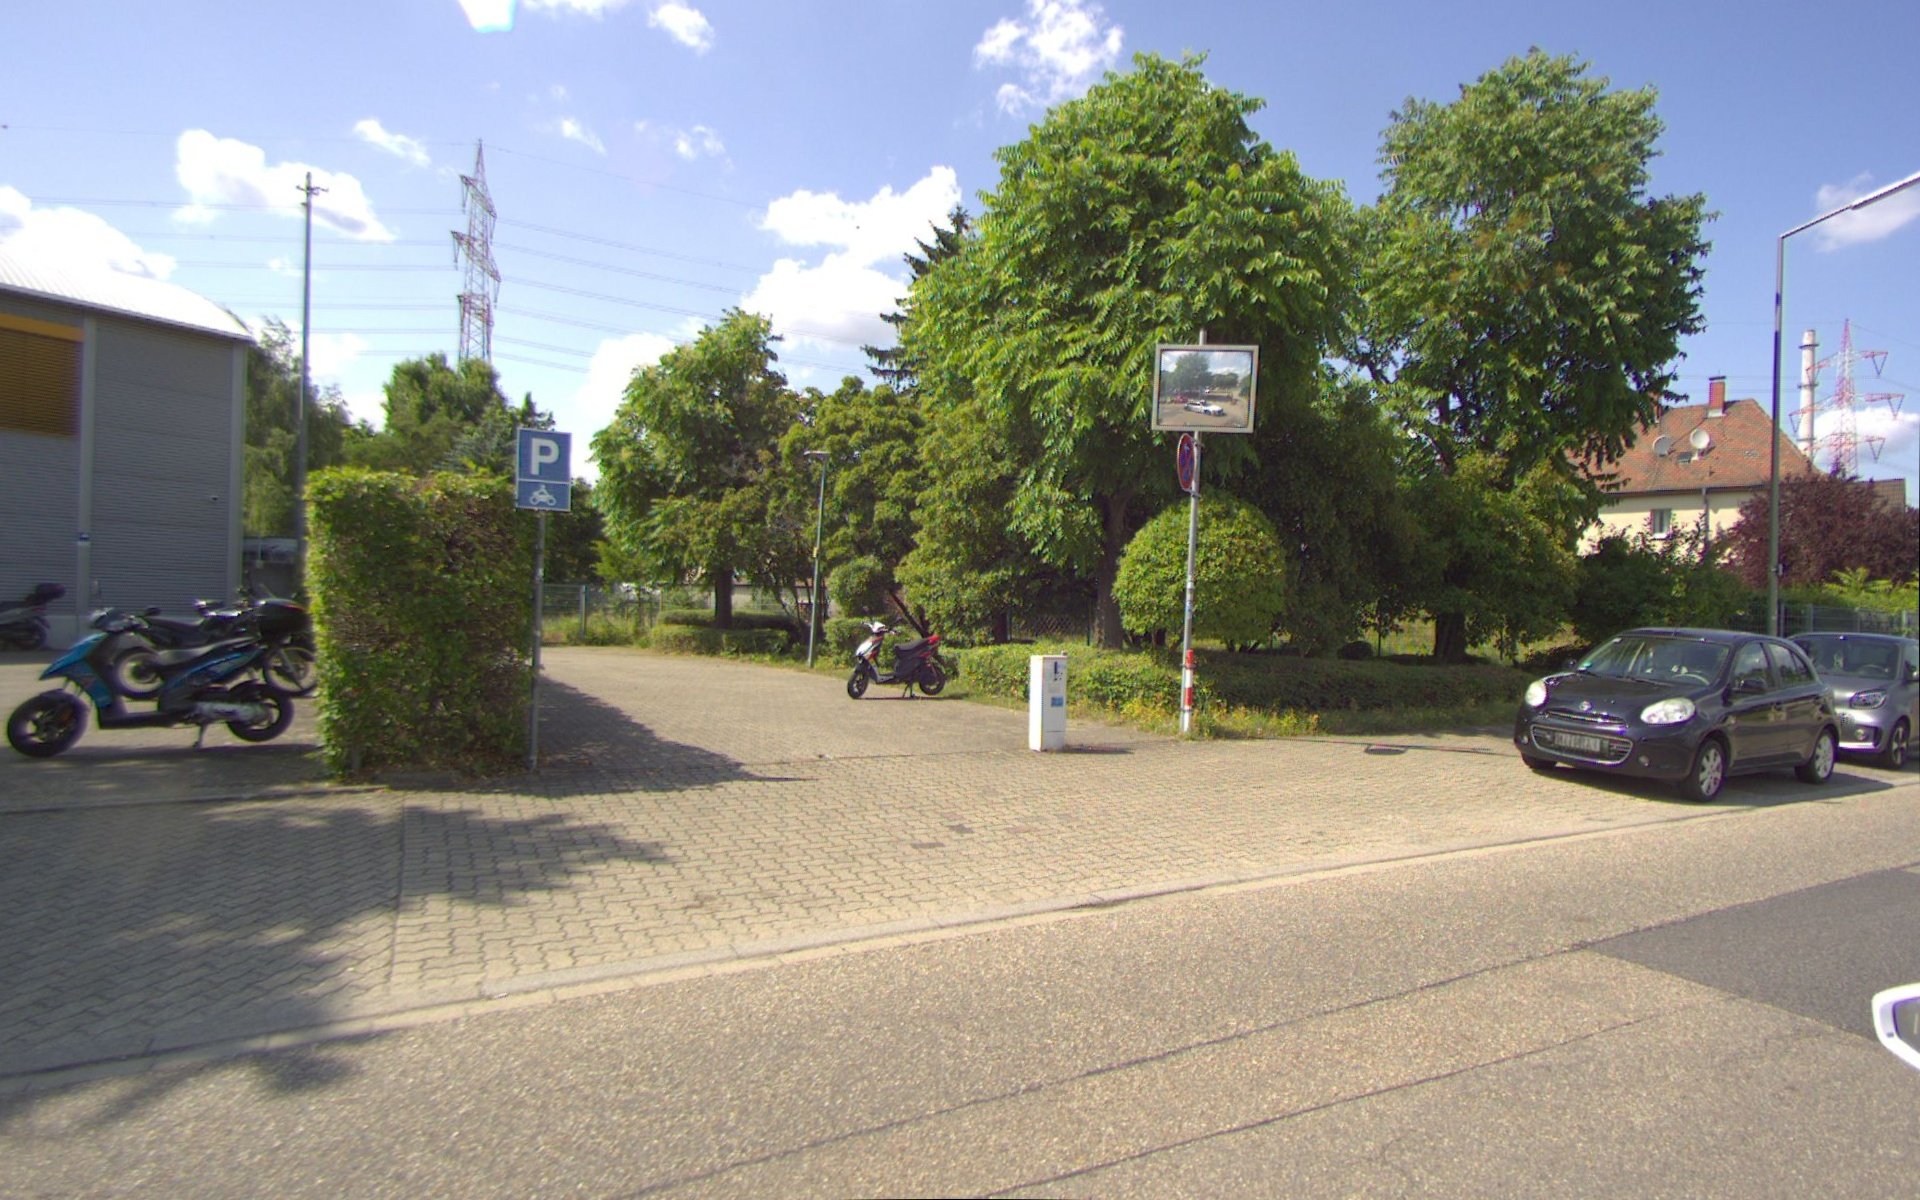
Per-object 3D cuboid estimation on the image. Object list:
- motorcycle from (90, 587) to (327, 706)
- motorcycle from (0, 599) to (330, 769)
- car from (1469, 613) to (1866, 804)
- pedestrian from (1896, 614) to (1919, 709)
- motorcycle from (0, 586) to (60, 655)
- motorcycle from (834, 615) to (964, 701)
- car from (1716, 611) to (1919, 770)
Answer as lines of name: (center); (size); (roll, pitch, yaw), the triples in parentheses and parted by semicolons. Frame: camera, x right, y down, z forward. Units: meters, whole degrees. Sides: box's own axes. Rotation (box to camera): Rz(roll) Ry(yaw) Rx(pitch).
motorcycle: (-9.176, 0.568, 12.395); (2.272, 1.368, 0.529); (2, -1, -32)
motorcycle: (-6.309, 0.644, 8.076); (2.062, 1.236, 0.529); (2, -1, -32)
car: (7.374, 1.002, 10.418); (3.953, 1.528, 1.836); (2, 2, -30)
pedestrian: (18.913, 1.199, 19.588); (0.905, 1.825, 0.704); (2, 0, -30)
motorcycle: (-19.030, 0.397, 19.606); (0.525, 1.344, 2.096); (1, -1, 33)
motorcycle: (-0.912, 0.872, 15.297); (1.917, 1.236, 0.529); (2, -1, -31)
car: (11.324, 1.059, 12.743); (3.237, 1.667, 1.641); (2, 2, -32)
